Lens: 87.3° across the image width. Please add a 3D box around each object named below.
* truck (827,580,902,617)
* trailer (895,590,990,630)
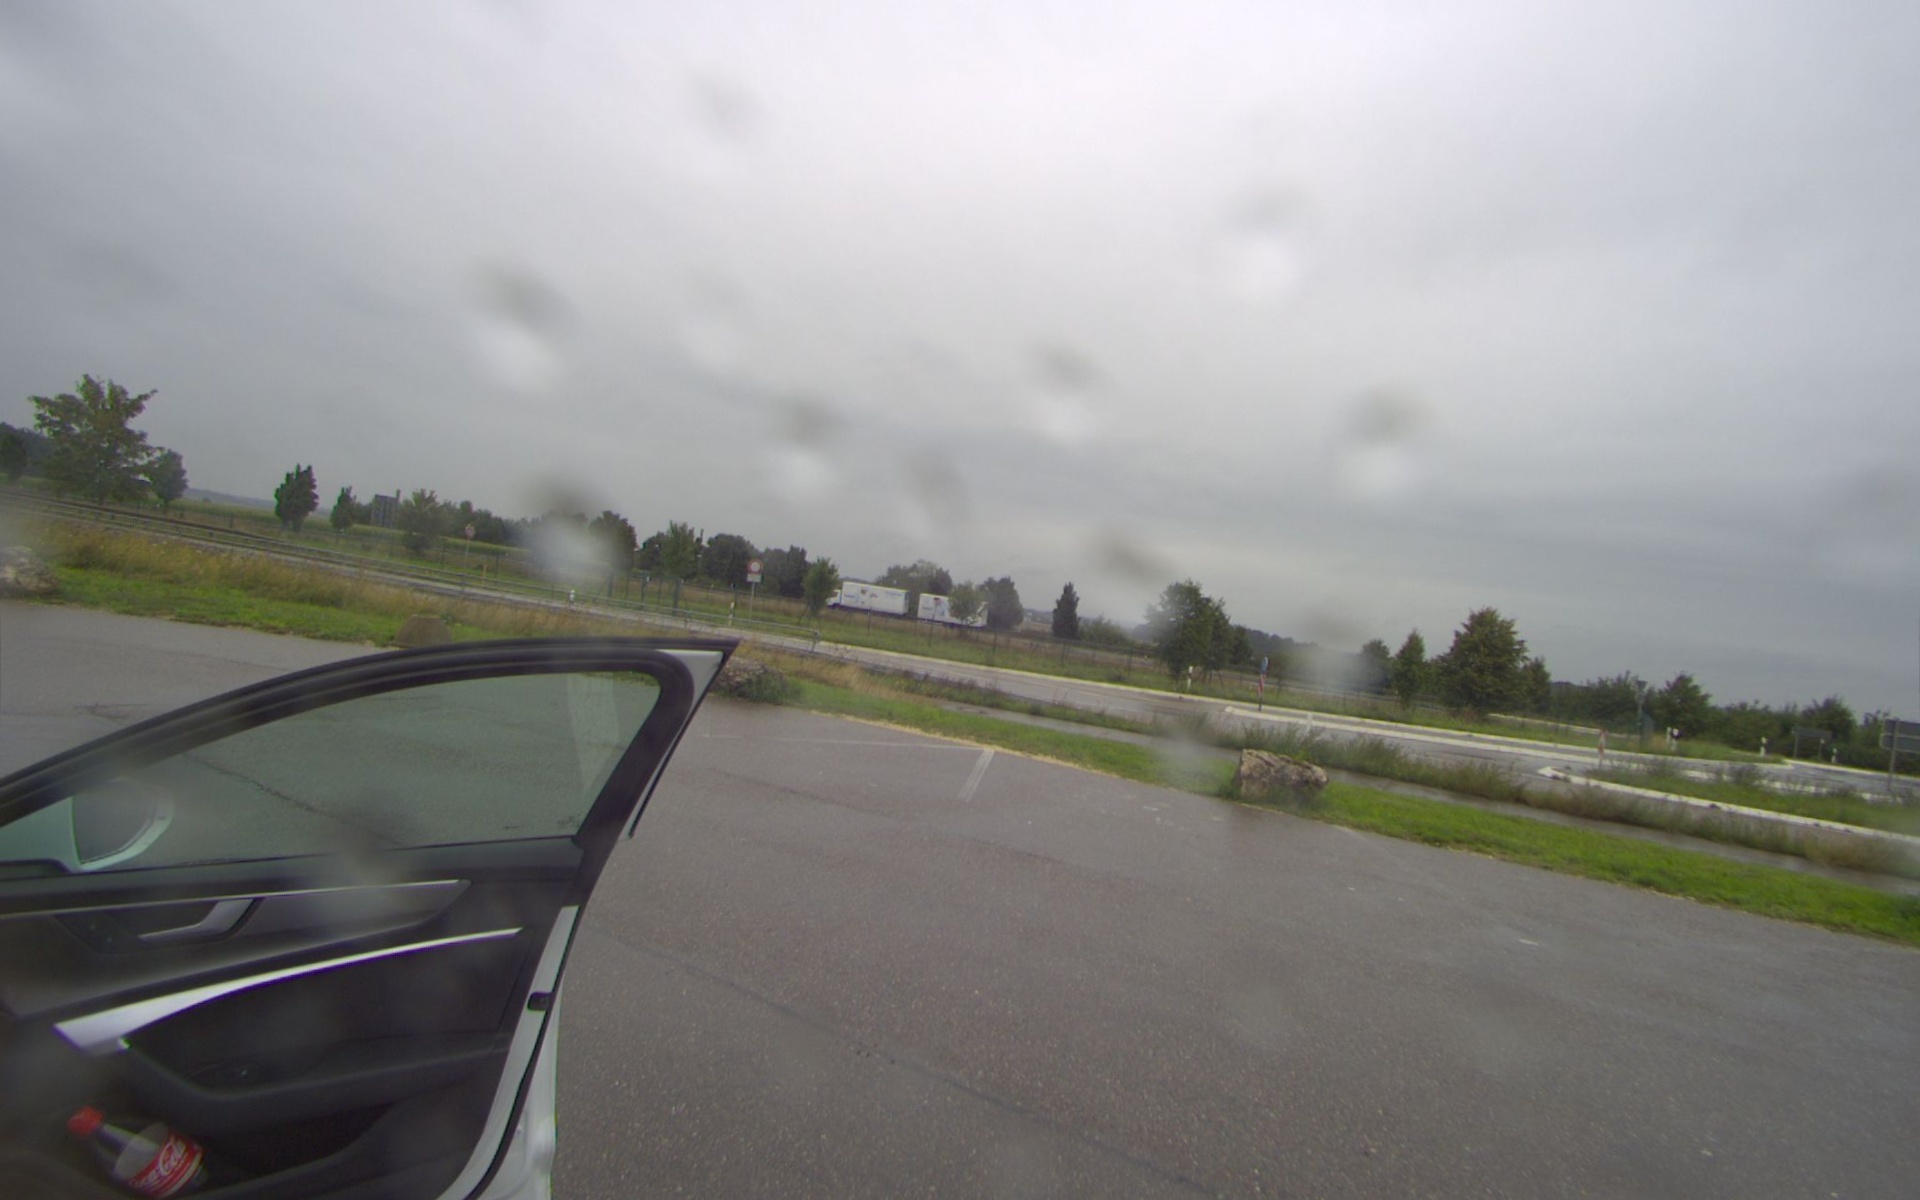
[{"bbox_3d":[-10.625,-0.174,112.091,7.644,2.942,2.186,8,-1,8],"label":"truck"},{"bbox_3d":[-1.944,1.109,110.547,9.949,2.936,2.209,8,-1,12],"label":"trailer"}]
